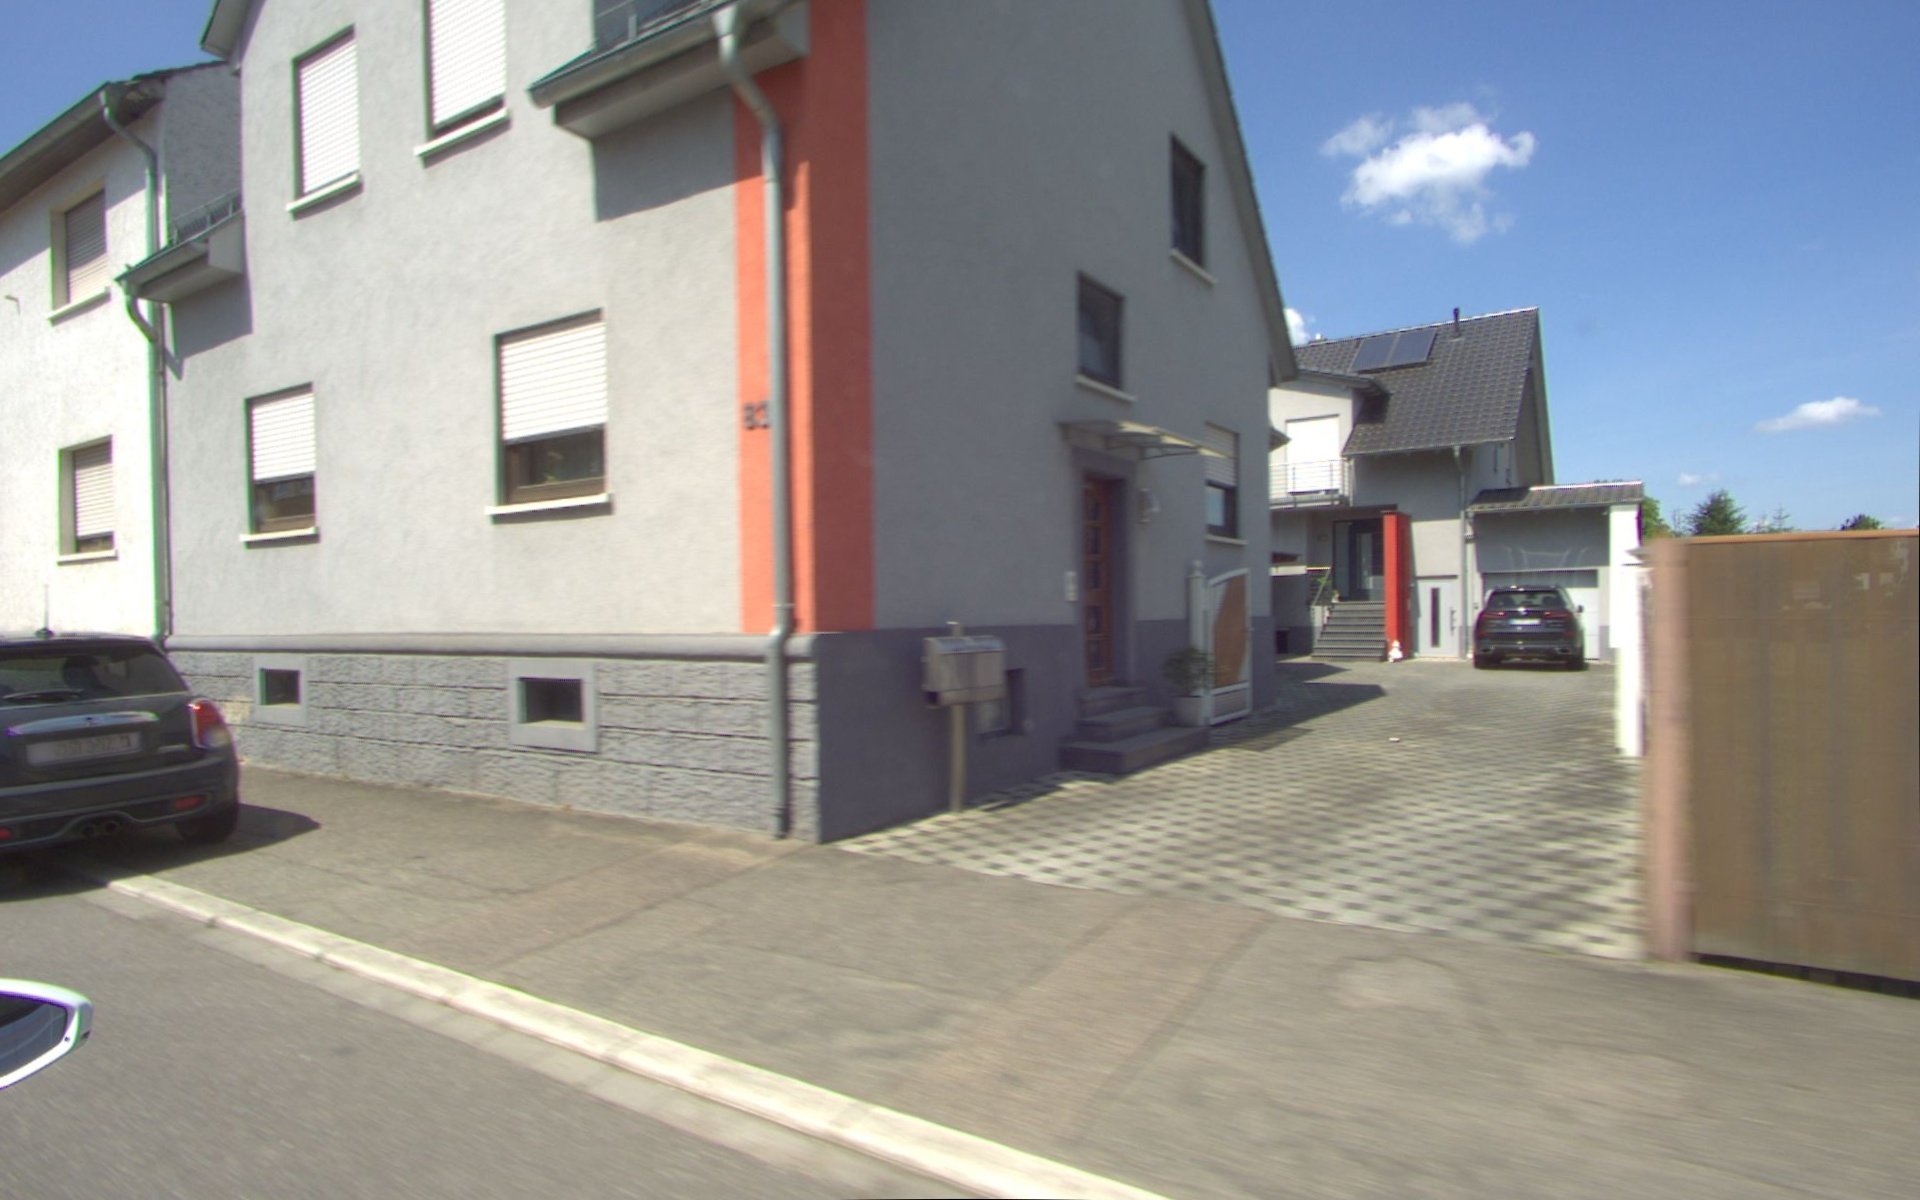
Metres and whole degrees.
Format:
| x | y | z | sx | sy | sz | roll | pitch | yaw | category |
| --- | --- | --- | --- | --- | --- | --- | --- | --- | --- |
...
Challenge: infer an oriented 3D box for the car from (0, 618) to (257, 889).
| x | y | z | sx | sy | sz | roll | pitch | yaw | category |
| --- | --- | --- | --- | --- | --- | --- | --- | --- | --- |
| -6.493 | 0.865 | 6.689 | 3.604 | 1.441 | 1.685 | -1 | 0 | 32 | car |

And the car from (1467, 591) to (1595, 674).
| x | y | z | sx | sy | sz | roll | pitch | yaw | category |
| --- | --- | --- | --- | --- | --- | --- | --- | --- | --- |
| 12.364 | 0.713 | 21.533 | 1.973 | 1.572 | 4.558 | -1 | -2 | 35 | car |
